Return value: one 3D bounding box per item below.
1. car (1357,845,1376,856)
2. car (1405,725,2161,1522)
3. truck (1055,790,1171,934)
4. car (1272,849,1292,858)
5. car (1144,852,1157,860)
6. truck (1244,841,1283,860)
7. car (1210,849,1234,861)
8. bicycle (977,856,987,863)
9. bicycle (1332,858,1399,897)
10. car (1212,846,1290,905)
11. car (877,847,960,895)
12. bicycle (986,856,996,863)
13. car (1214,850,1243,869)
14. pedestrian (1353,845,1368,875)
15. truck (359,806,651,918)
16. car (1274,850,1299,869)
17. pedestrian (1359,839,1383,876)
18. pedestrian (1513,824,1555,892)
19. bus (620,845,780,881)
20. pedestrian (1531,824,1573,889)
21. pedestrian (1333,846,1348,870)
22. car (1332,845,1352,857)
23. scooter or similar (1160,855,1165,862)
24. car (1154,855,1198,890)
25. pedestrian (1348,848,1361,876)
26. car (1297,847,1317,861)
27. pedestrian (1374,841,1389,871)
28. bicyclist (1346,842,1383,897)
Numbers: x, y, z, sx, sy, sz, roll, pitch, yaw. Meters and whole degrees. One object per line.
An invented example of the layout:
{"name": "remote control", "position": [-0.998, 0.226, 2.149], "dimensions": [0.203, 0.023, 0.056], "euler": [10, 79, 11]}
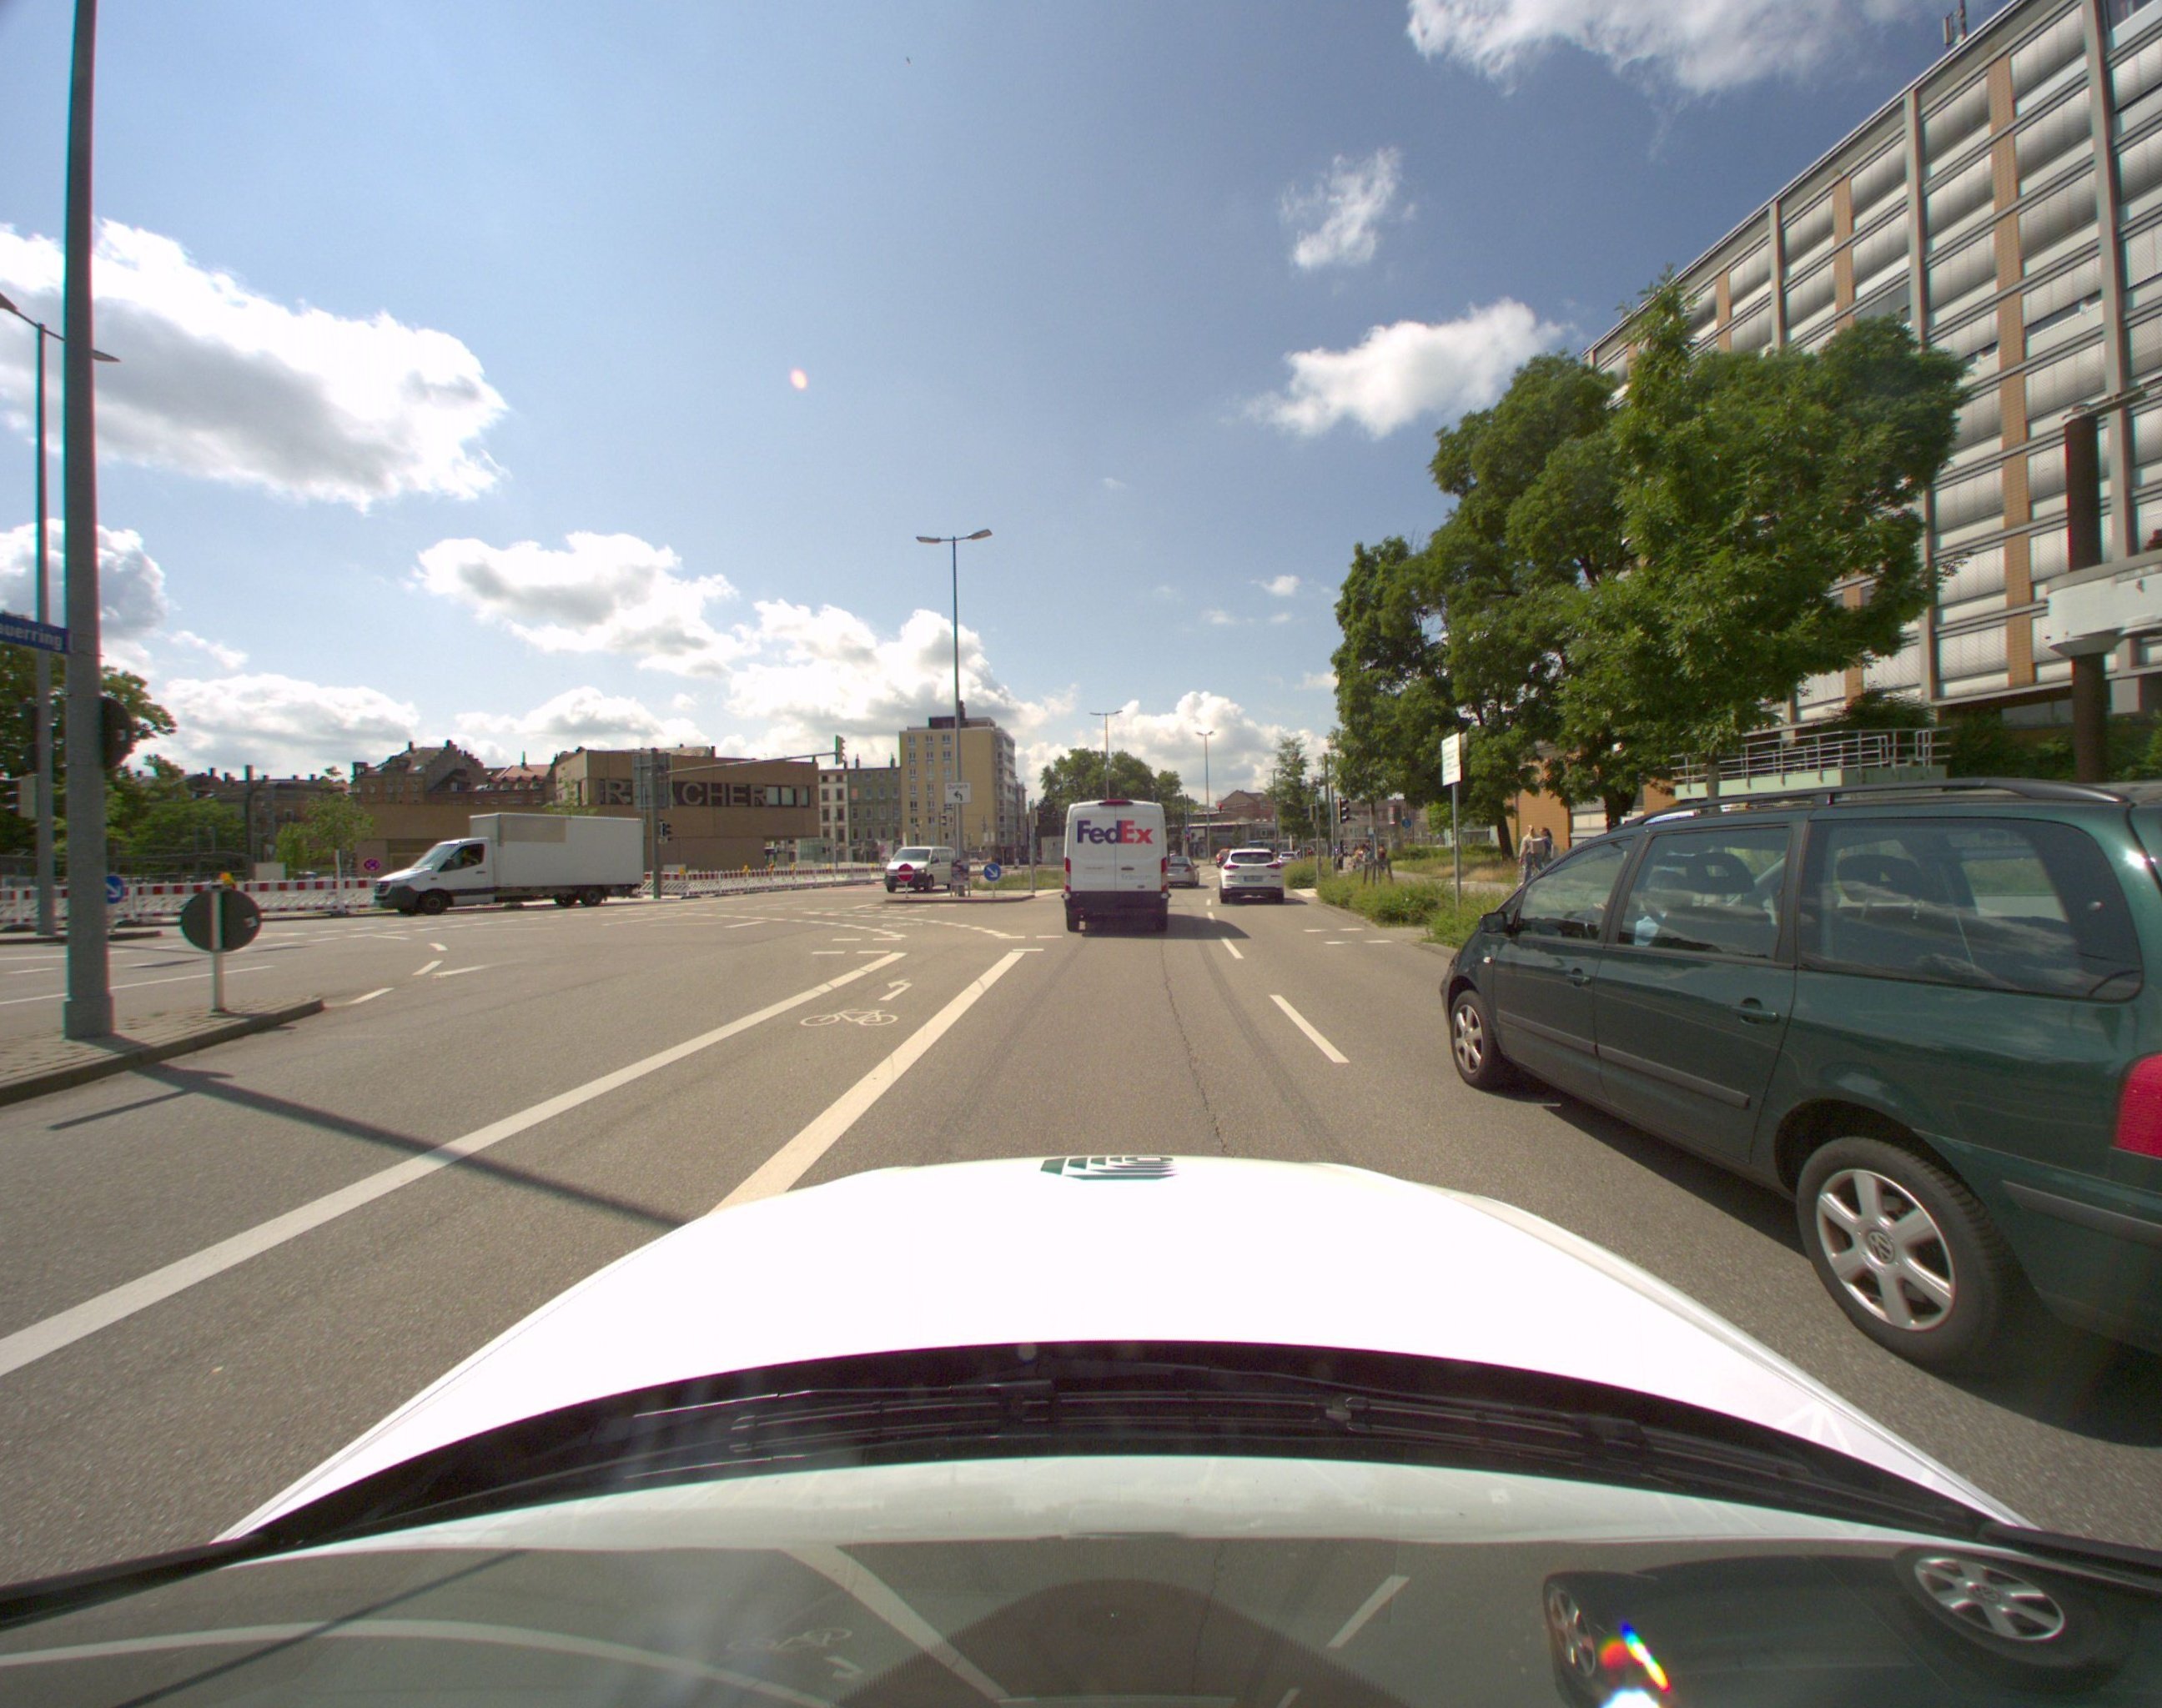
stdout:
{"name": "car", "position": [44.130, -0.548, 125.833], "dimensions": [1.863, 1.641, 3.982], "euler": [-2, 0, 31]}
{"name": "car", "position": [3.280, 0.587, 3.874], "dimensions": [1.788, 1.723, 4.449], "euler": [1, 0, 1]}
{"name": "truck", "position": [0.839, 0.167, 17.940], "dimensions": [2.127, 2.640, 5.925], "euler": [0, 0, 5]}
{"name": "car", "position": [33.445, -0.113, 135.523], "dimensions": [1.637, 1.469, 4.180], "euler": [-2, 0, 38]}
{"name": "car", "position": [15.529, 0.457, 182.511], "dimensions": [1.978, 1.574, 4.197], "euler": [-1, -1, 18]}
{"name": "truck", "position": [30.710, -0.617, 136.757], "dimensions": [2.857, 2.852, 8.848], "euler": [-2, 0, 39]}
{"name": "car", "position": [23.644, 0.186, 136.633], "dimensions": [1.701, 1.800, 4.770], "euler": [-3, -1, 40]}
{"name": "bicycle", "position": [-16.249, 0.843, 134.147], "dimensions": [0.514, 1.147, 2.109], "euler": [1, -1, -43]}
{"name": "bicycle", "position": [8.706, 0.727, 24.971], "dimensions": [1.802, 1.050, 0.592], "euler": [-4, -2, 2]}
{"name": "car", "position": [5.225, 0.601, 25.528], "dimensions": [1.872, 1.641, 4.239], "euler": [-2, 0, 5]}
{"name": "car", "position": [-6.961, 0.673, 35.556], "dimensions": [1.870, 1.894, 4.883], "euler": [-2, 0, 10]}
{"name": "bicycle", "position": [-14.943, 0.843, 134.574], "dimensions": [0.514, 1.147, 2.109], "euler": [1, -1, -43]}
{"name": "car", "position": [13.718, 0.527, 75.585], "dimensions": [1.912, 1.641, 4.815], "euler": [-2, 0, 19]}
{"name": "pedestrian", "position": [15.305, 0.324, 44.646], "dimensions": [0.584, 1.626, 0.728], "euler": [0, -1, 4]}
{"name": "truck", "position": [-17.897, 0.273, 25.957], "dimensions": [1.974, 3.068, 7.376], "euler": [-1, -1, 33]}
{"name": "car", "position": [18.590, 0.479, 73.575], "dimensions": [1.866, 1.641, 3.975], "euler": [-2, 0, 17]}
{"name": "pedestrian", "position": [14.811, 0.199, 41.610], "dimensions": [0.754, 1.821, 0.779], "euler": [-5, -1, -2]}
{"name": "pedestrian", "position": [12.402, 0.111, 22.320], "dimensions": [0.746, 1.802, 0.610], "euler": [-3, 0, 2]}
{"name": "bus", "position": [-32.703, 0.769, 70.588], "dimensions": [12.333, 2.859, 2.564], "euler": [1, -1, -42]}
{"name": "pedestrian", "position": [13.189, 0.073, 22.829], "dimensions": [0.746, 1.752, 0.610], "euler": [-3, 0, 2]}
{"name": "pedestrian", "position": [17.526, 0.295, 55.017], "dimensions": [0.754, 1.590, 0.761], "euler": [0, -1, -2]}
{"name": "car", "position": [37.930, -0.426, 118.256], "dimensions": [1.863, 1.641, 3.982], "euler": [-2, 0, 31]}
{"name": "scooter or similar", "position": [13.138, 0.769, 131.159], "dimensions": [0.374, 1.115, 1.102], "euler": [-1, -1, 39]}
{"name": "car", "position": [4.349, 0.792, 36.838], "dimensions": [1.731, 1.391, 4.190], "euler": [-2, 0, 9]}
{"name": "pedestrian", "position": [16.284, 0.480, 48.506], "dimensions": [0.645, 1.626, 0.778], "euler": [-4, -2, 19]}
{"name": "car", "position": [28.249, -0.054, 101.866], "dimensions": [1.864, 1.641, 3.979], "euler": [-2, 0, 23]}
{"name": "pedestrian", "position": [18.639, 0.144, 50.499], "dimensions": [0.752, 1.821, 0.675], "euler": [0, -1, 5]}
{"name": "bicyclist", "position": [8.678, 0.483, 24.979], "dimensions": [0.824, 1.601, 0.580], "euler": [-4, -2, 3]}
